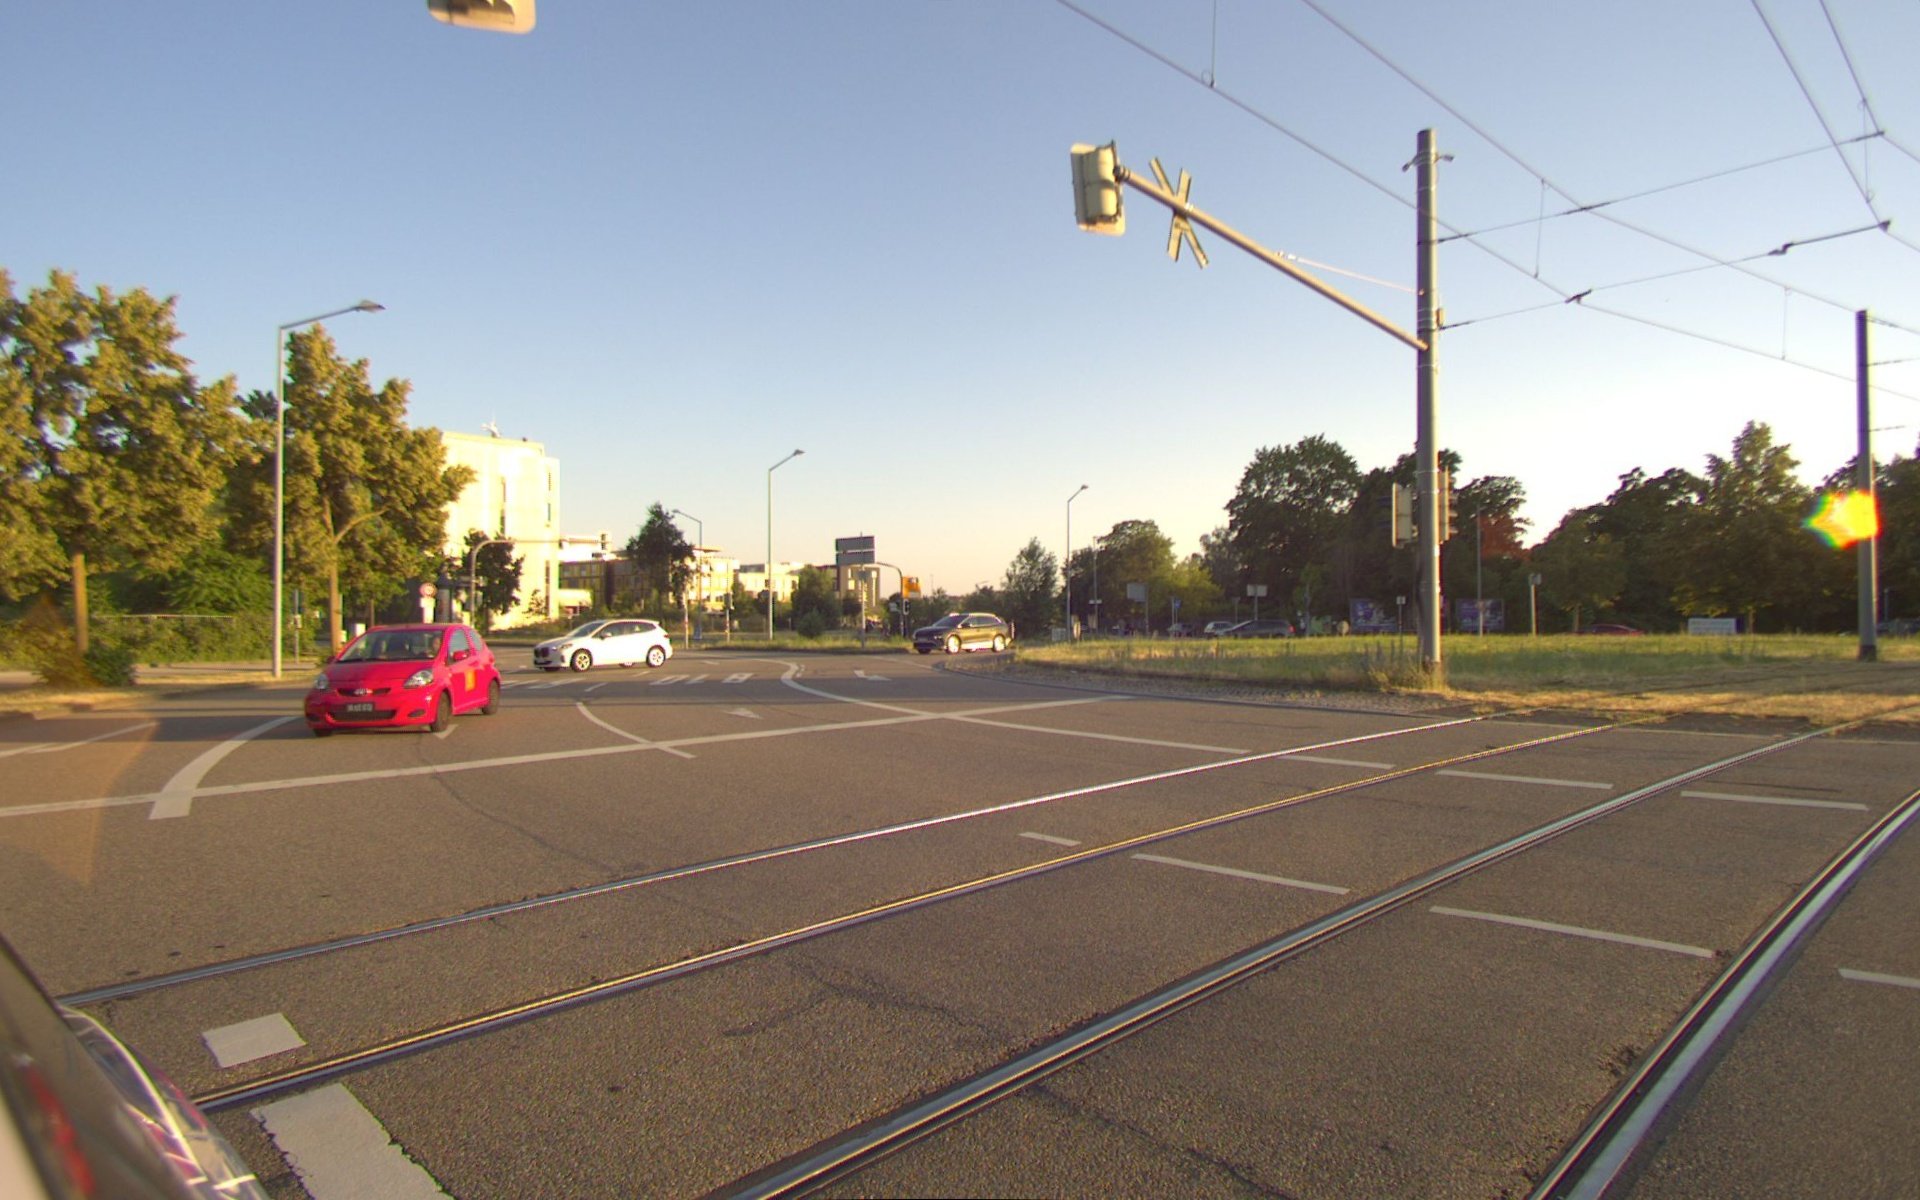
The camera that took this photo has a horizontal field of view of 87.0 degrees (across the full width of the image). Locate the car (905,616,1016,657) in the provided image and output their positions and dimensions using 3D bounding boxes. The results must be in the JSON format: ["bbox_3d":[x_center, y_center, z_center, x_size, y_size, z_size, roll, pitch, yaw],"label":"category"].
[{"bbox_3d":[0.046,1.451,40.861,4.143,1.570,1.833,0,-2,-32],"label":"car"}]

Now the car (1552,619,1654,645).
[{"bbox_3d":[37.337,1.861,58.829,1.914,1.443,4.603,1,-2,-39],"label":"car"}]

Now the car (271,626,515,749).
[{"bbox_3d":[-7.869,1.128,14.521,1.667,1.432,4.218,-2,-1,-9],"label":"car"}]

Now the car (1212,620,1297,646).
[{"bbox_3d":[16.819,1.883,57.926,4.349,1.443,1.941,-1,-2,6],"label":"car"}]

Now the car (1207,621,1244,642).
[{"bbox_3d":[19.559,2.296,74.774,1.818,1.512,4.250,0,-1,4],"label":"car"}]

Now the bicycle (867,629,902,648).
[{"bbox_3d":[-5.072,2.583,68.058,2.293,1.188,0.812,1,-1,-41],"label":"bicycle"}]

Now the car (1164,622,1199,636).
[{"bbox_3d":[22.911,3.004,104.756,1.913,1.443,4.412,0,-2,-10],"label":"car"}]

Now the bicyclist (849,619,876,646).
[{"bbox_3d":[-6.268,2.079,65.143,1.393,1.762,1.127,0,-1,-31],"label":"bicyclist"}]

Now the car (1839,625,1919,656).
[{"bbox_3d":[44.787,1.897,47.959,1.911,1.443,4.333,0,-2,-29],"label":"car"}]

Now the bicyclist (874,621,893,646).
[{"bbox_3d":[-5.148,2.226,67.986,0.985,1.645,0.812,1,-2,-41],"label":"bicyclist"}]

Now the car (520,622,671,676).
[{"bbox_3d":[-11.337,1.482,31.717,1.759,1.570,4.158,-2,-2,40],"label":"car"}]

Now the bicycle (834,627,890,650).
[{"bbox_3d":[-6.304,2.440,65.111,3.479,1.406,1.127,0,-1,-31],"label":"bicycle"}]

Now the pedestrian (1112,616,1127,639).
[{"bbox_3d":[12.119,2.096,77.071,0.875,1.714,0.723,0,-2,-20],"label":"pedestrian"}]
